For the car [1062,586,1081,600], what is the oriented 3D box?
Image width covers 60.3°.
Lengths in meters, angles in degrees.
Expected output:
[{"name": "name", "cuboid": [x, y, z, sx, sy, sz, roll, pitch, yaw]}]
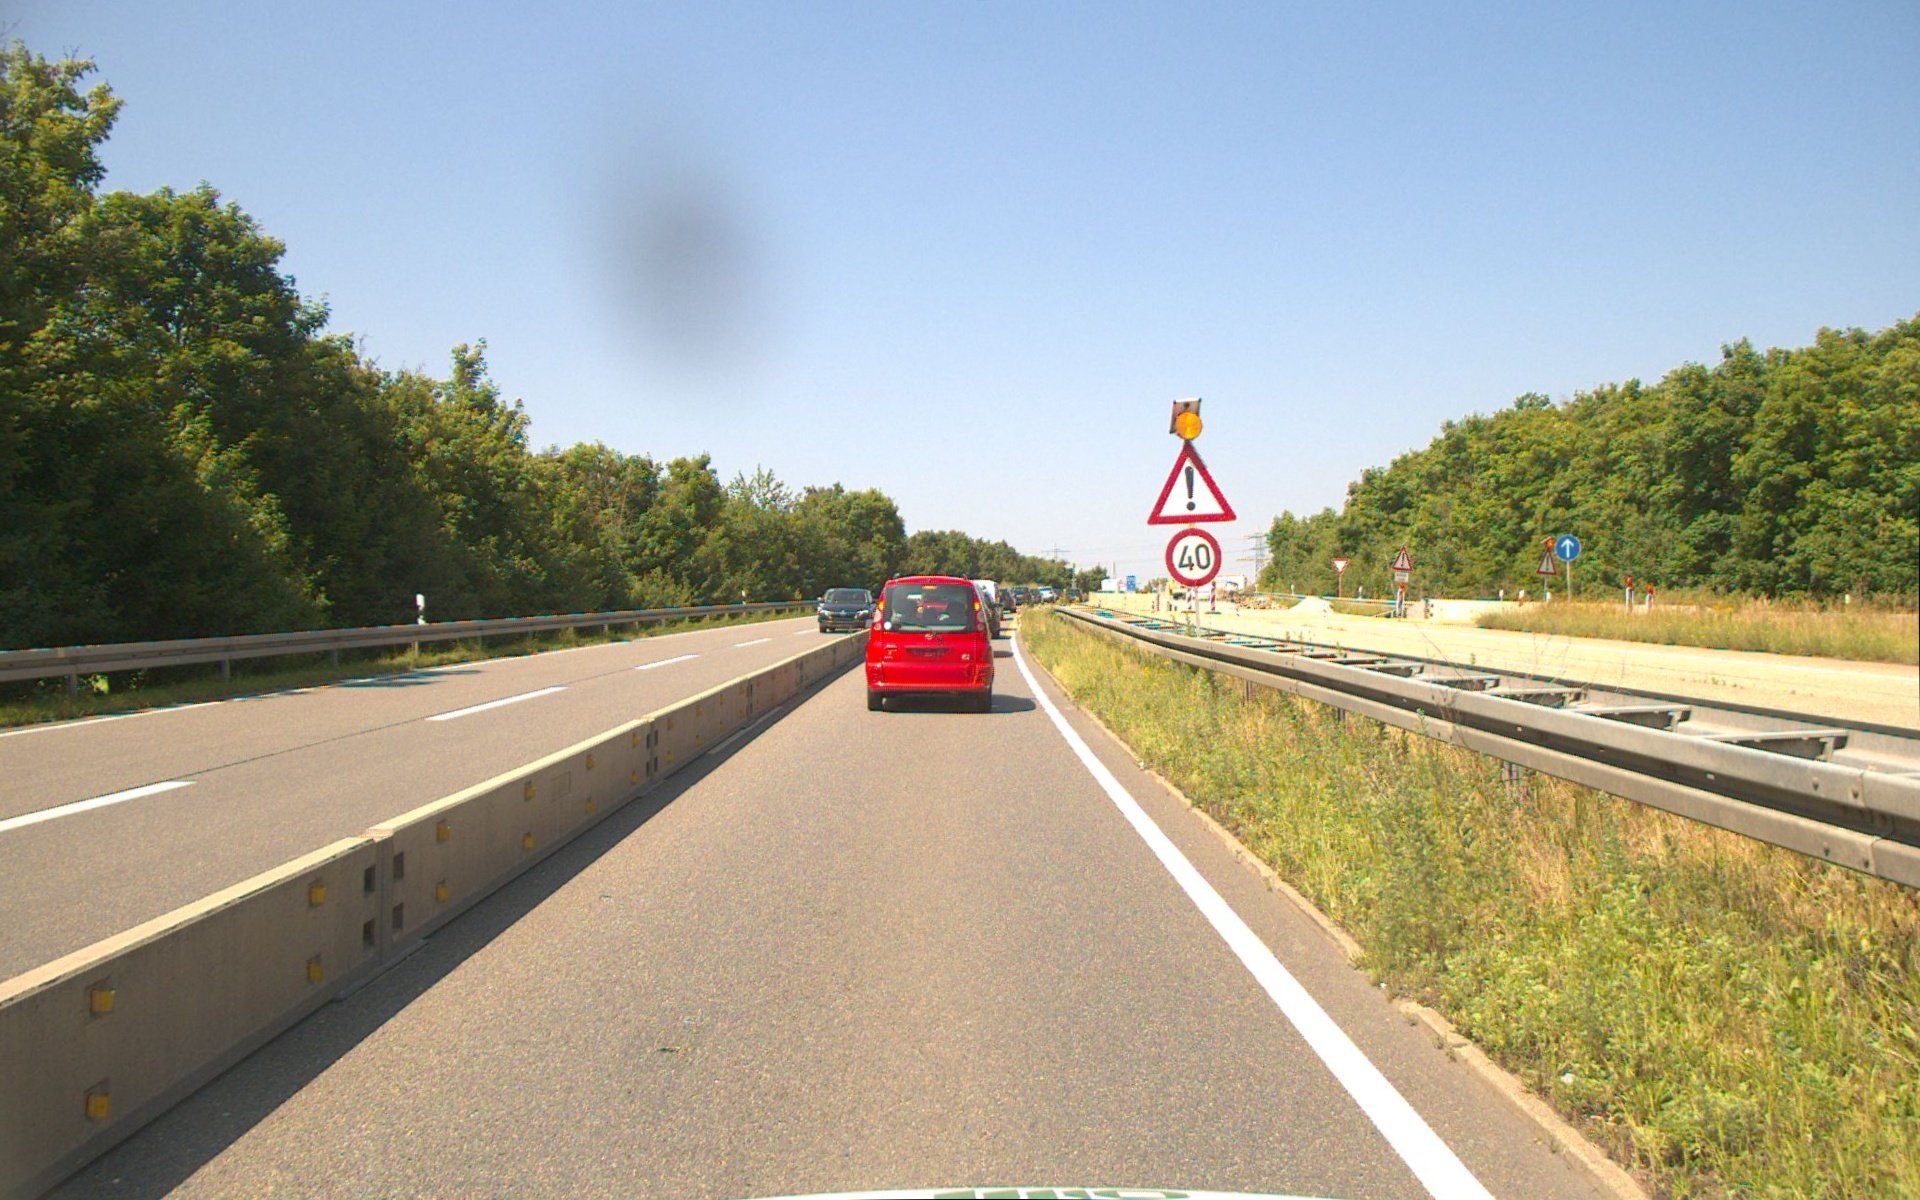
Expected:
[{"name": "car", "cuboid": [13.025, -0.850, 193.405, 1.952, 1.579, 4.001, 0, 0, 1]}]

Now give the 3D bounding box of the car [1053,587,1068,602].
[{"name": "car", "cuboid": [10.320, -0.553, 169.595, 1.470, 1.476, 3.171, -1, 0, 4]}]

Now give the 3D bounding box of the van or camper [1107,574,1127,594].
[{"name": "van or camper", "cuboid": [21.543, -2.187, 226.805, 2.280, 2.754, 4.592, -1, 0, -1]}]

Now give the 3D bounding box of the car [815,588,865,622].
[{"name": "car", "cuboid": [-5.334, 0.214, 73.913, 1.909, 1.446, 4.353, -1, 0, 0]}]

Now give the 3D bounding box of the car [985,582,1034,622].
[{"name": "car", "cuboid": [2.235, 0.062, 75.543, 1.953, 1.780, 3.998, 0, 0, -2]}]

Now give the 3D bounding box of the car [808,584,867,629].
[{"name": "car", "cuboid": [-4.182, 0.203, 57.039, 1.785, 1.508, 4.255, 0, 0, -1]}]

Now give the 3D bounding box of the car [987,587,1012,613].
[{"name": "car", "cuboid": [2.326, -0.027, 97.173, 1.471, 1.476, 3.326, 0, 0, 1]}]

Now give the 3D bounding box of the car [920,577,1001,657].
[{"name": "car", "cuboid": [-0.007, 0.367, 38.458, 1.793, 1.752, 4.000, 0, 0, -1]}]

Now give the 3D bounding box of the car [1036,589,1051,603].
[{"name": "car", "cuboid": [7.772, -0.354, 153.522, 1.391, 1.321, 2.880, 0, 0, 4]}]

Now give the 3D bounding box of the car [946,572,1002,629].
[{"name": "car", "cuboid": [0.483, 0.003, 62.104, 1.953, 2.038, 3.999, 1, 0, -1]}]

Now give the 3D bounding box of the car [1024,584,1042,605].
[{"name": "car", "cuboid": [6.071, -0.469, 137.895, 1.470, 1.767, 3.171, 0, 0, 2]}]

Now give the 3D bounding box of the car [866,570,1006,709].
[{"name": "car", "cuboid": [-0.373, 0.480, 22.243, 1.716, 1.702, 3.998, 0, 0, -2]}]

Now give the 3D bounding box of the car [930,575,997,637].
[{"name": "car", "cuboid": [0.151, 0.184, 51.551, 1.952, 1.870, 4.001, 0, 0, 2]}]

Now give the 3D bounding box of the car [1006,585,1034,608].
[{"name": "car", "cuboid": [4.436, -0.258, 121.981, 1.952, 1.612, 4.002, 0, 0, 3]}]

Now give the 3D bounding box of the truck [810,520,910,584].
[{"name": "truck", "cuboid": [-8.863, -4.202, 147.247, 8.440, 5.469, 3.390, -1, 0, 3]}]
